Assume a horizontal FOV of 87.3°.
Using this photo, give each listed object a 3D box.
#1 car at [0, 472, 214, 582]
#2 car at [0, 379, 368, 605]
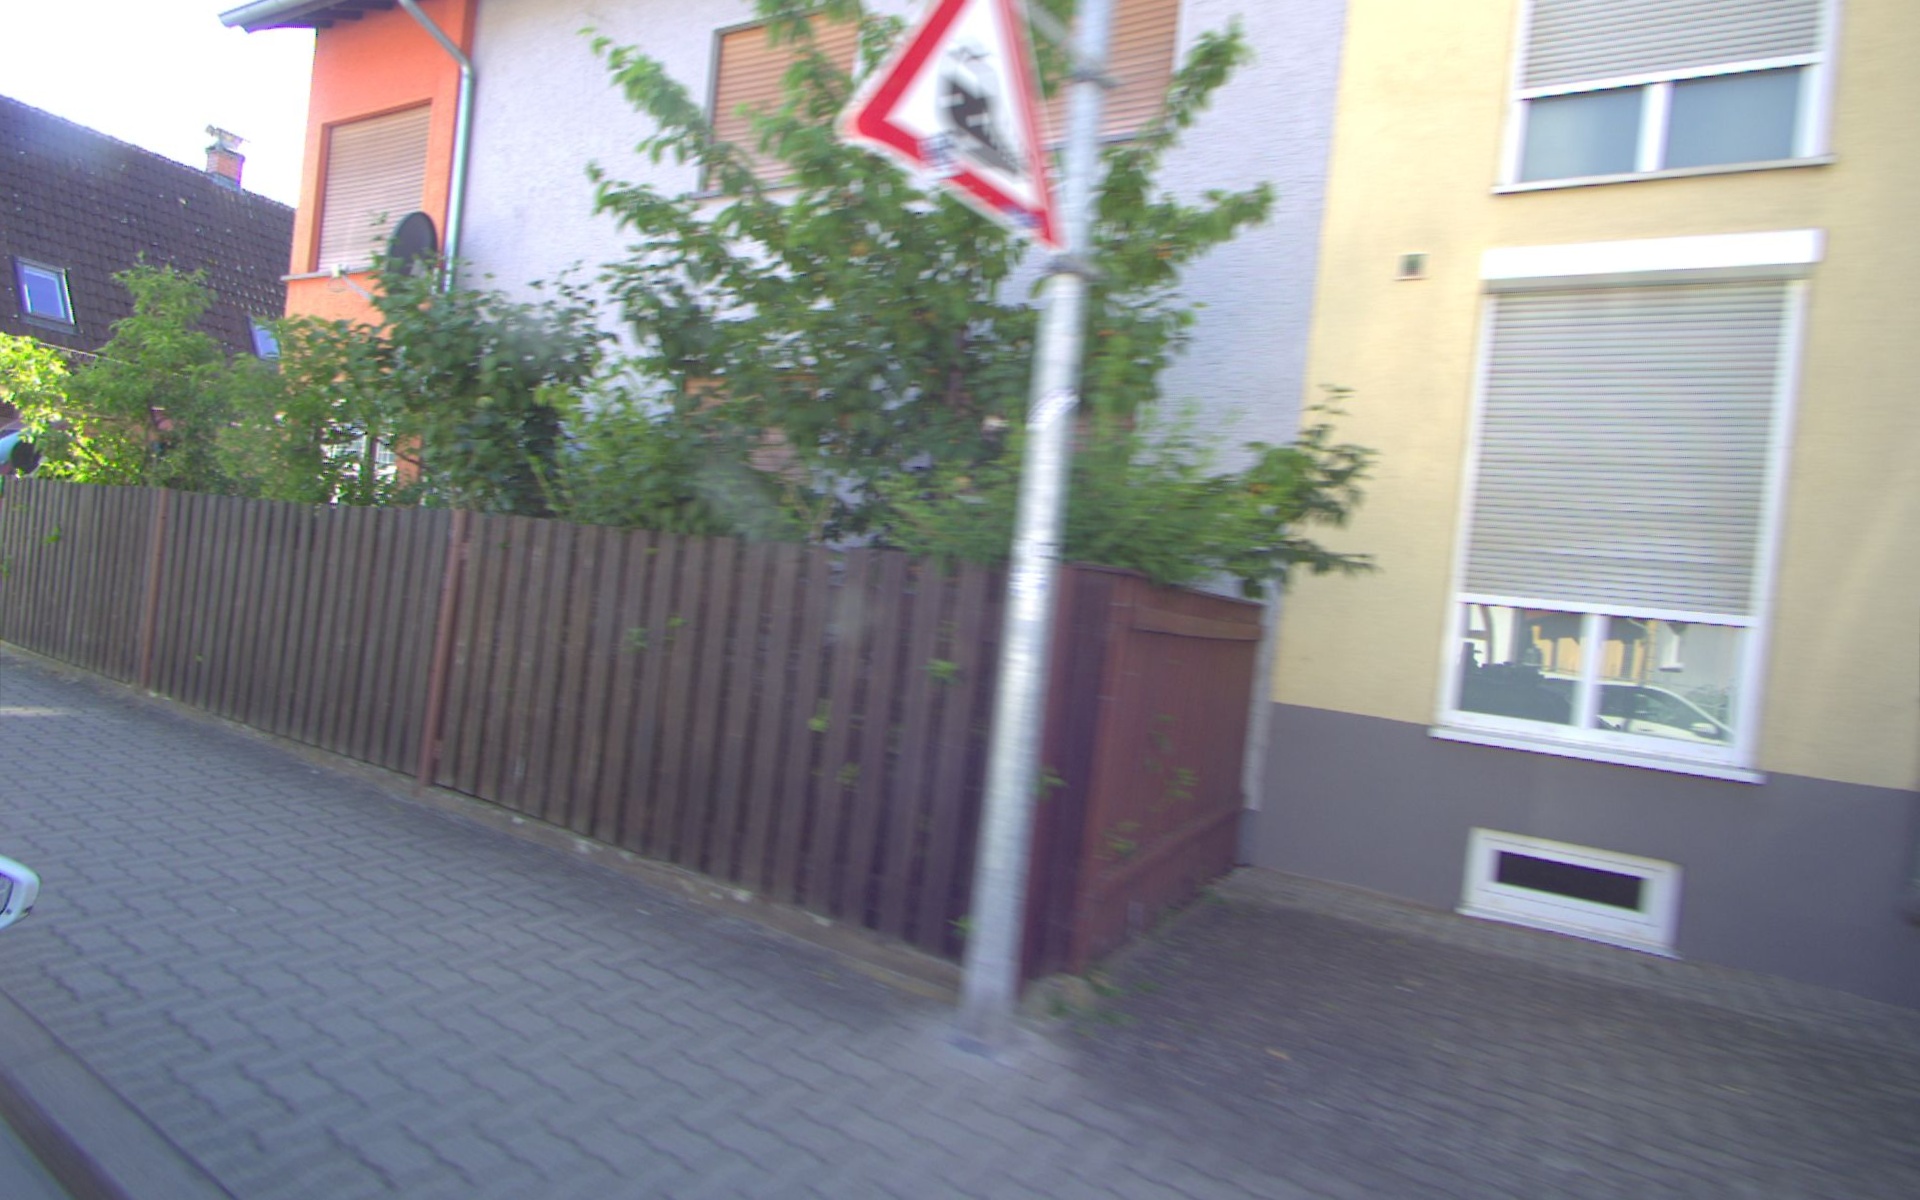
[{"bbox_3d":[-14.866,-1.212,16.032,1.809,1.506,4.377,6,1,30],"label":"car"},{"bbox_3d":[-12.127,-1.437,14.625,1.934,2.689,5.810,5,1,28],"label":"car"}]
